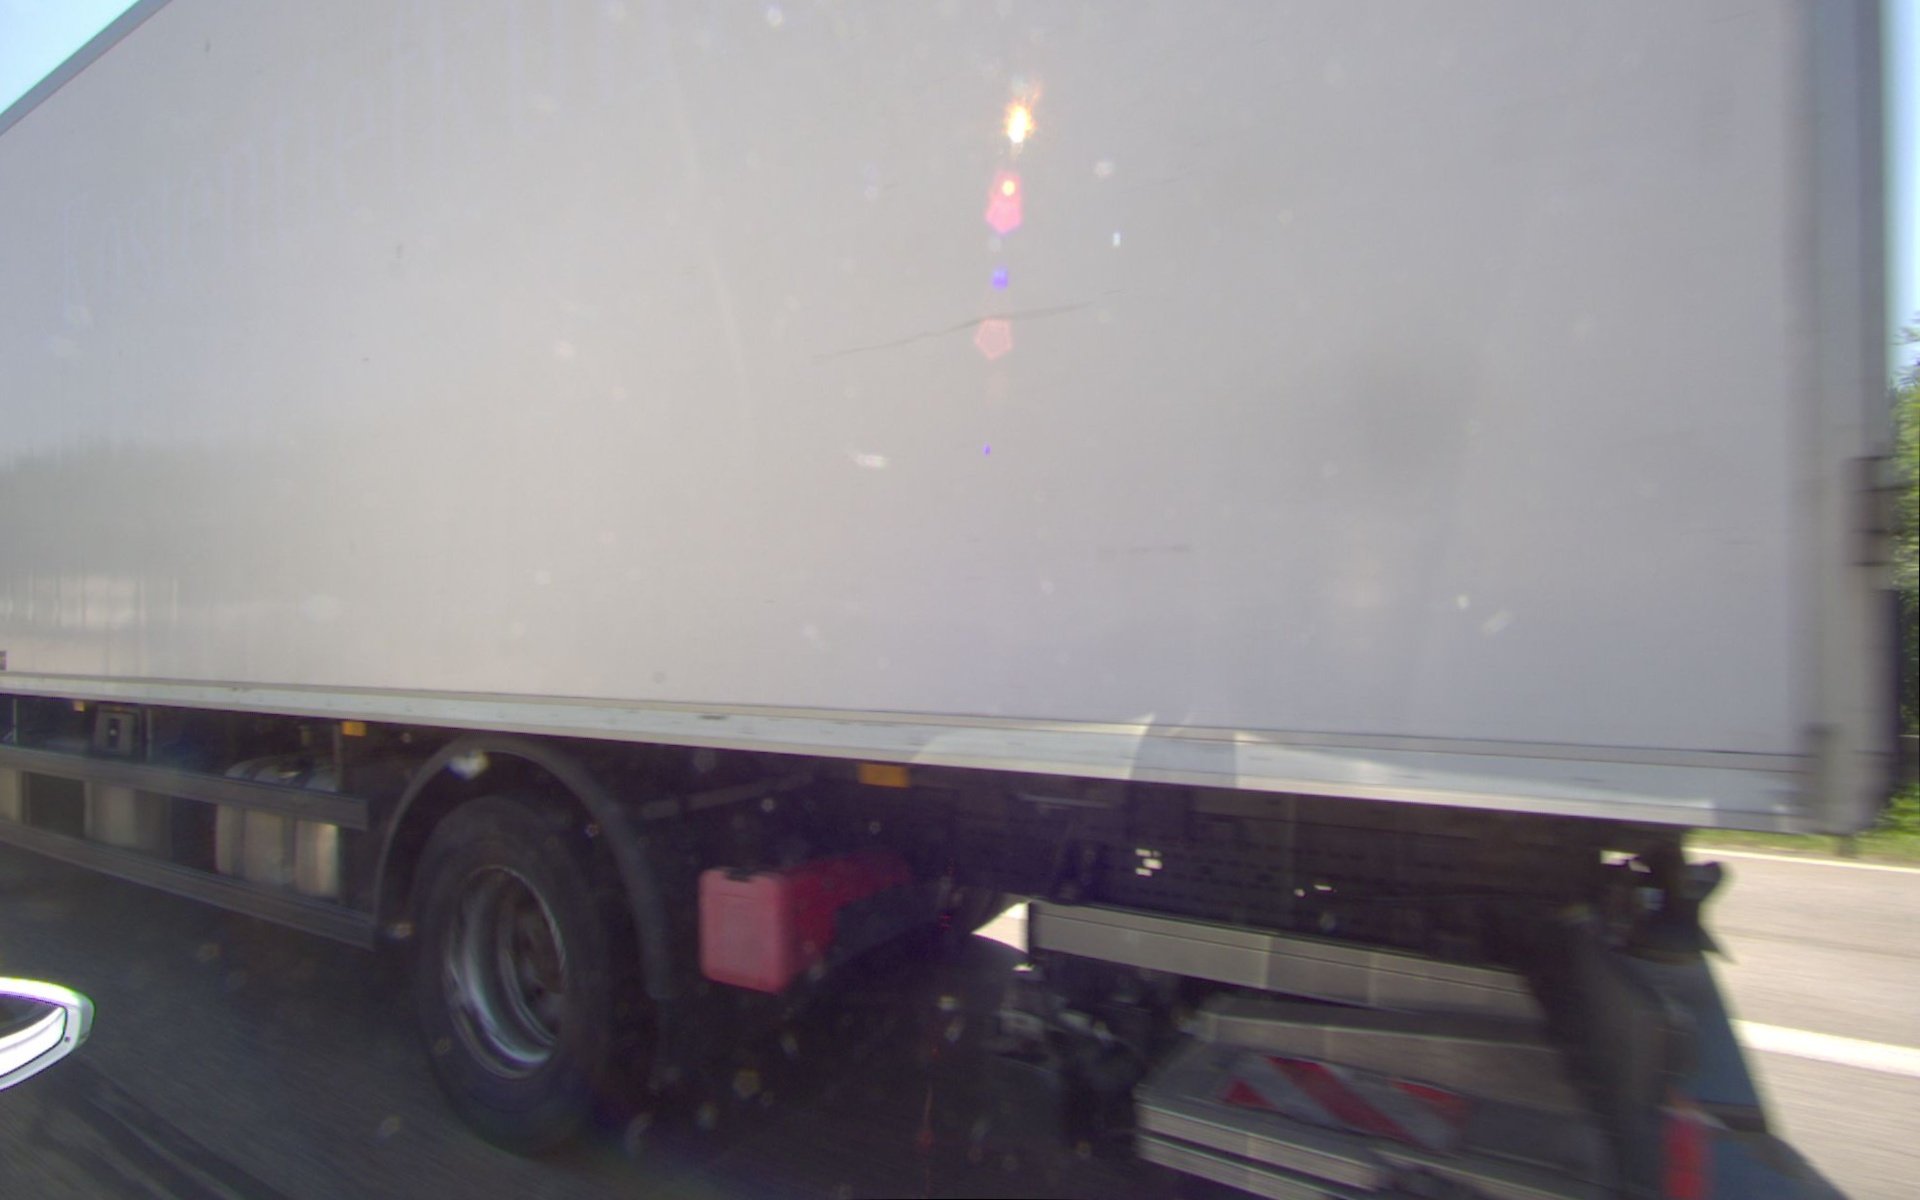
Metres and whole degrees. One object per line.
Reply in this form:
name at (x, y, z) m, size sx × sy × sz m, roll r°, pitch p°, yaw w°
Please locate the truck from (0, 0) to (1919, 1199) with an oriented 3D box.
truck at (-2.272, -0.337, 4.801) m, size 9.639 × 3.929 × 2.681 m, roll -1°, pitch 2°, yaw 32°
